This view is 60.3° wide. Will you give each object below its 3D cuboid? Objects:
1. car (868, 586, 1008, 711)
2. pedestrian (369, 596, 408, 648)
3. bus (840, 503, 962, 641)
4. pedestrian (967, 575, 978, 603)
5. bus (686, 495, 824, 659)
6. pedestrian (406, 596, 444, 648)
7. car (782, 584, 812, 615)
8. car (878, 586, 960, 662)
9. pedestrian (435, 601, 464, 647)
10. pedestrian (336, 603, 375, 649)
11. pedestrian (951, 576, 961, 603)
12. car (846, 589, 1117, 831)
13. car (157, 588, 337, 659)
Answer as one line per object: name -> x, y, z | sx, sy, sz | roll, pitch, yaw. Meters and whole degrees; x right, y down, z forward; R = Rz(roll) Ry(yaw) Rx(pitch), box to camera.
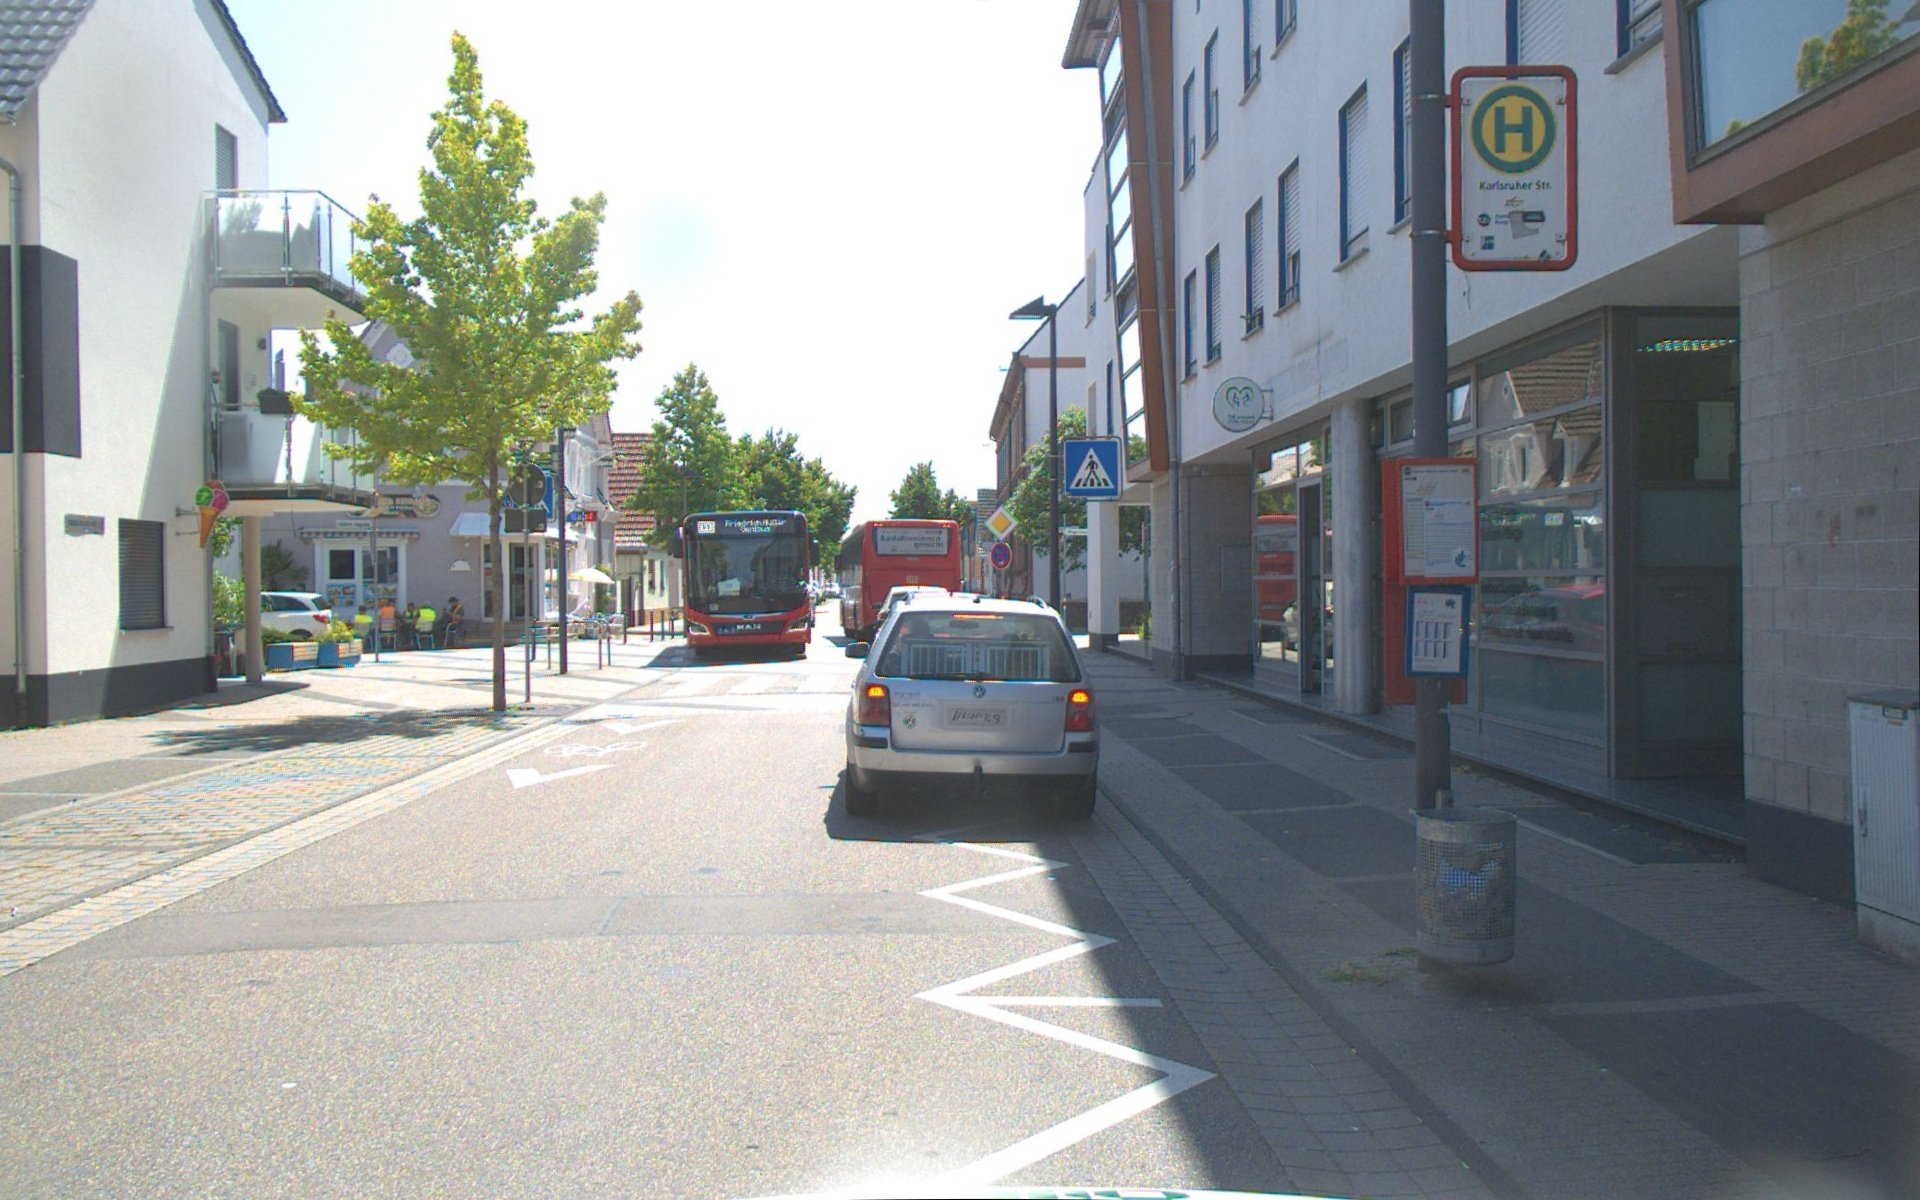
car -> -0.336, 0.557, 21.316 | 1.643, 1.455, 3.678 | 0, 0, -2
pedestrian -> -14.760, 0.561, 42.712 | 0.776, 1.311, 0.631 | 1, 0, 44
bus -> -1.898, -0.712, 46.870 | 2.687, 3.356, 12.690 | 0, 0, -6
pedestrian -> 0.769, -0.699, 103.306 | 0.594, 1.696, 0.789 | -1, 0, -4
bus -> -5.398, -0.519, 41.713 | 2.619, 3.178, 17.771 | -2, 1, -9
pedestrian -> -13.769, 0.564, 42.562 | 0.776, 1.311, 0.631 | 1, 0, 44
car -> -11.067, -0.035, 112.684 | 1.775, 2.030, 3.998 | -1, 0, -3
car -> -0.839, 0.451, 33.922 | 1.561, 1.455, 3.678 | 1, 0, -1
pedestrian -> -13.504, 0.620, 43.753 | 0.610, 1.199, 0.695 | -1, 0, -7
pedestrian -> -15.371, 0.657, 42.051 | 0.776, 1.135, 0.631 | 1, 0, 44
pedestrian -> -0.247, -0.669, 104.201 | 0.594, 1.696, 0.789 | -1, 0, -4
car -> 0.060, 0.667, 12.028 | 1.643, 1.455, 3.678 | 1, 0, -2
car -> -17.237, 0.544, 40.175 | 3.857, 1.572, 1.510 | -1, 2, -19
